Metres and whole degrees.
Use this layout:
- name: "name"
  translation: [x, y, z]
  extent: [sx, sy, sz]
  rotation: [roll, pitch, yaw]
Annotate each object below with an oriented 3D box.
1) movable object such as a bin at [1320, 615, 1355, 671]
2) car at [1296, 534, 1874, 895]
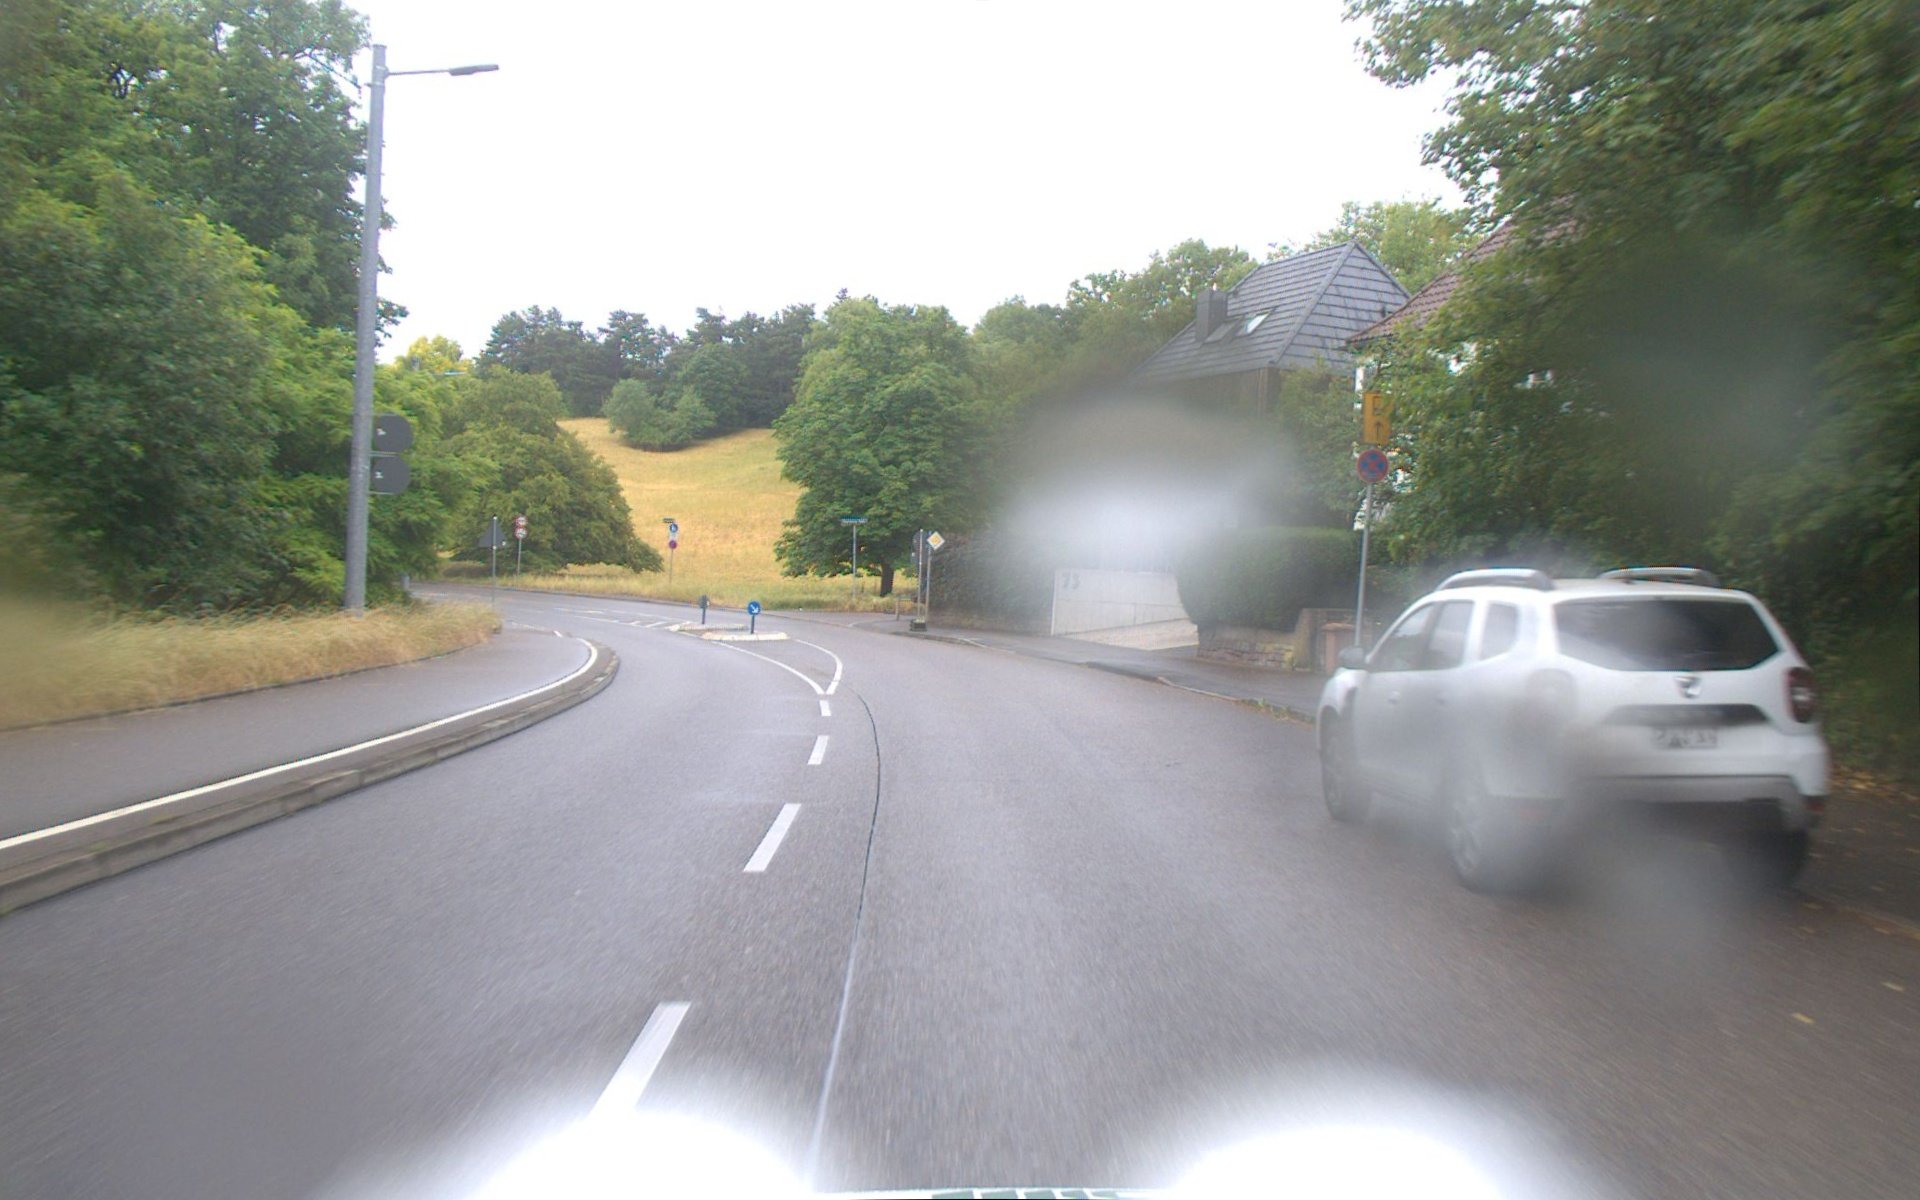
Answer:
- name: "movable object such as a bin"
  translation: [6.472, 0.729, 28.342]
  extent: [0.411, 0.936, 0.462]
  rotation: [1, 0, -12]
- name: "car"
  translation: [3.482, 0.538, 10.230]
  extent: [1.710, 1.735, 4.500]
  rotation: [0, 0, -2]
